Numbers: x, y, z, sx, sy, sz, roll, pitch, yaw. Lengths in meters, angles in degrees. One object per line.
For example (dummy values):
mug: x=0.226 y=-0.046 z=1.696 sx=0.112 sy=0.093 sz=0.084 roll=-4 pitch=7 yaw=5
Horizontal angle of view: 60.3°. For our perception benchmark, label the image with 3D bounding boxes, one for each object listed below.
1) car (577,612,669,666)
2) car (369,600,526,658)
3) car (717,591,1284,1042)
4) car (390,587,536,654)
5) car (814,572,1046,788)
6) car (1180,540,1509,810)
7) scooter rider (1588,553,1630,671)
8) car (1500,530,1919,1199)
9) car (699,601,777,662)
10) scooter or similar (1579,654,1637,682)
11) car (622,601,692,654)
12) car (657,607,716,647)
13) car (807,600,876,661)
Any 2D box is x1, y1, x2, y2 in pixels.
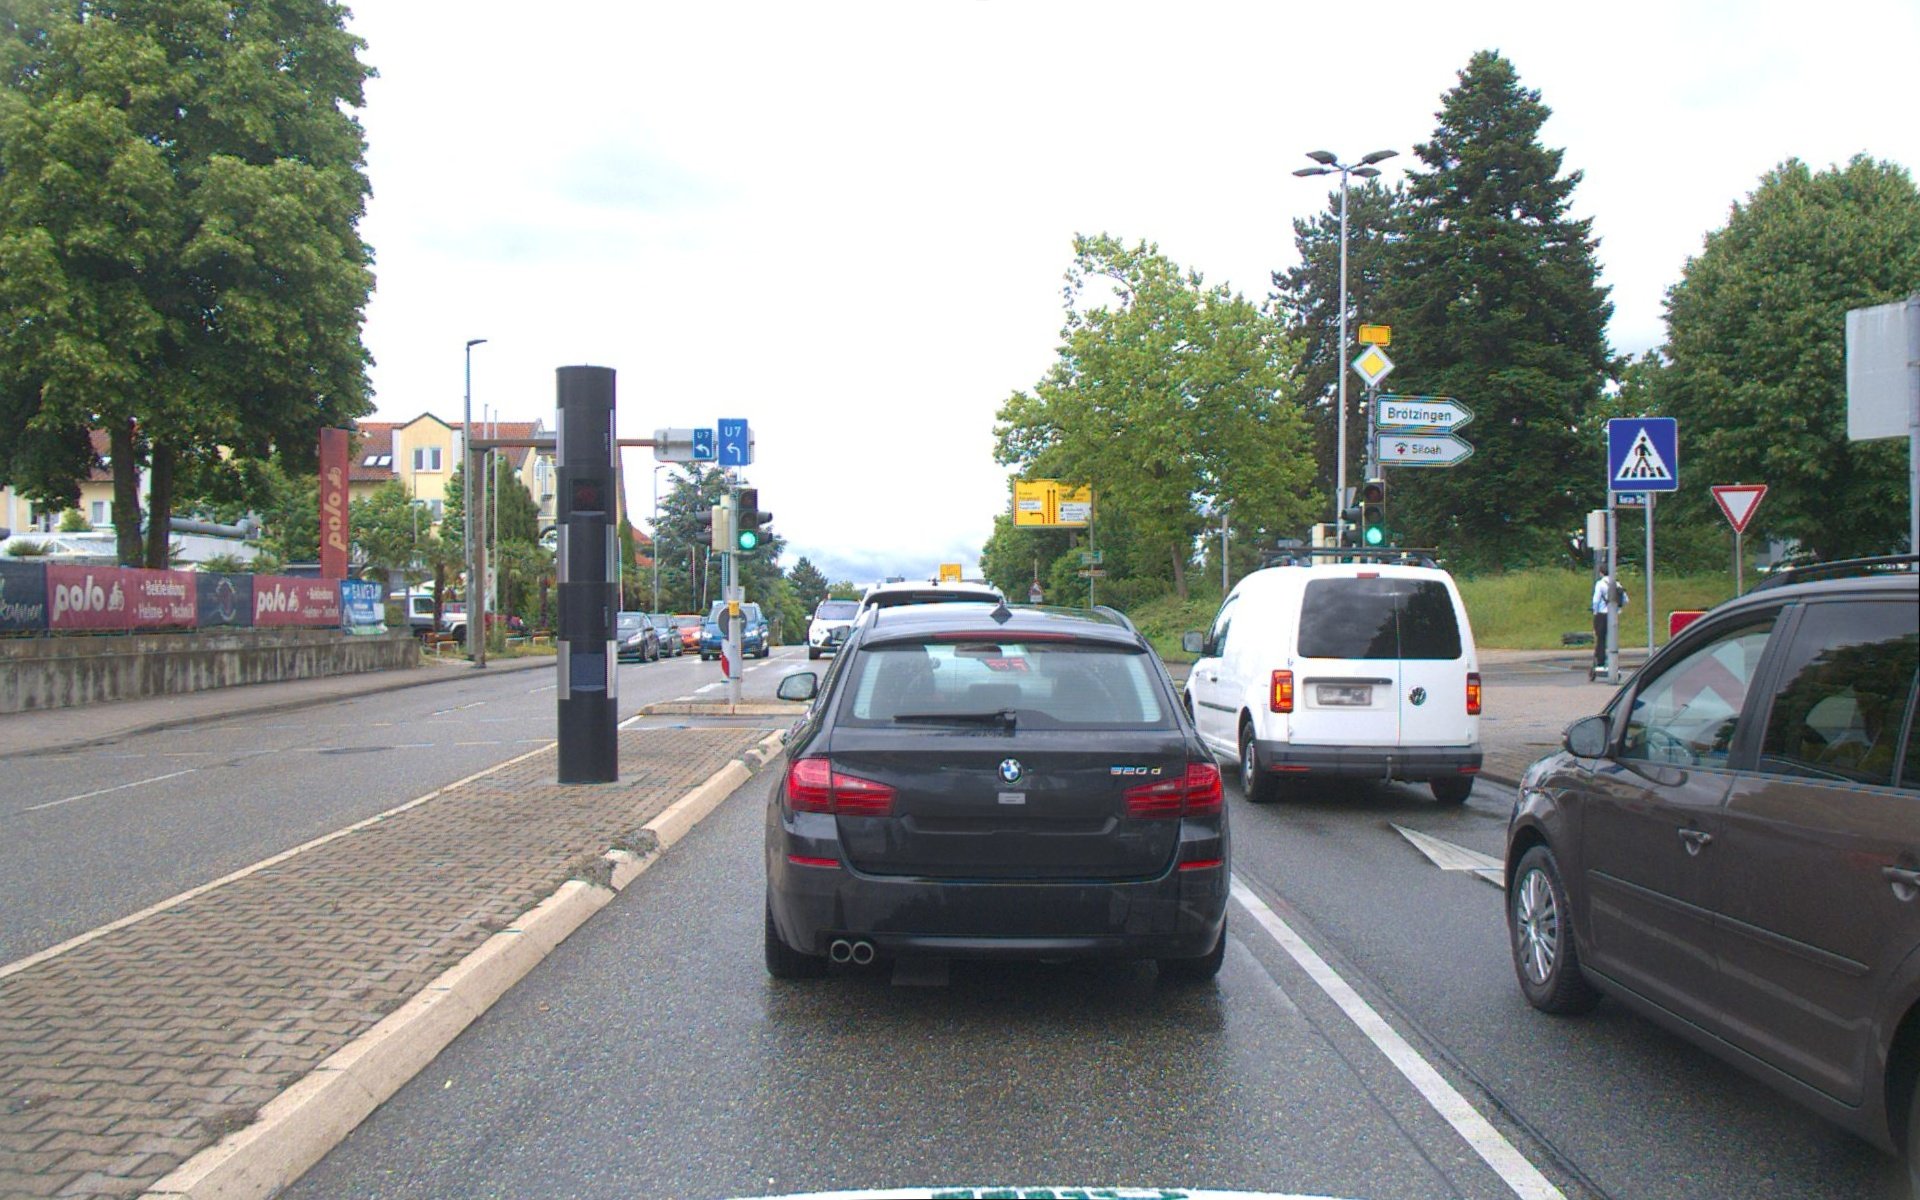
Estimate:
car: x=-9.797 y=1.105 z=48.394 sx=1.878 sy=1.403 sz=4.124 roll=-2 pitch=0 yaw=-1
car: x=-17.958 y=1.013 z=57.998 sx=4.943 sy=1.732 sz=1.980 roll=-2 pitch=-3 yaw=-29
car: x=0.115 y=0.709 z=7.465 sx=1.860 sy=1.467 sz=4.000 roll=1 pitch=0 yaw=-1
car: x=-16.661 y=0.677 z=55.447 sx=4.339 sy=2.049 sz=1.980 roll=-2 pitch=0 yaw=-30
car: x=-0.262 y=0.622 z=15.165 sx=1.830 sy=1.703 sz=4.000 roll=1 pitch=0 yaw=-1
car: x=2.993 y=0.519 z=13.683 sx=1.729 sy=1.910 sz=3.804 roll=1 pitch=0 yaw=-2
scooter rider: x=11.192 y=0.205 z=28.535 sx=0.490 sy=2.000 sz=0.547 roll=-1 pitch=0 yaw=-1
car: x=3.051 y=0.668 z=4.666 sx=1.711 sy=1.637 sz=3.980 roll=1 pitch=0 yaw=-1
car: x=-6.554 y=0.902 z=49.180 sx=1.802 sy=1.678 sz=4.295 roll=-2 pitch=0 yaw=-2
scooter or similar: x=11.207 y=1.175 z=28.626 sx=0.477 sy=0.410 sz=1.255 roll=-1 pitch=0 yaw=-1
car: x=-10.104 y=0.883 z=55.390 sx=1.642 sy=1.646 sz=3.999 roll=-1 pitch=0 yaw=-1
car: x=-10.132 y=0.974 z=61.528 sx=1.590 sy=1.355 sz=3.945 roll=-2 pitch=0 yaw=-2
car: x=-3.407 y=0.855 z=48.151 sx=1.802 sy=1.678 sz=4.295 roll=-1 pitch=0 yaw=-2
